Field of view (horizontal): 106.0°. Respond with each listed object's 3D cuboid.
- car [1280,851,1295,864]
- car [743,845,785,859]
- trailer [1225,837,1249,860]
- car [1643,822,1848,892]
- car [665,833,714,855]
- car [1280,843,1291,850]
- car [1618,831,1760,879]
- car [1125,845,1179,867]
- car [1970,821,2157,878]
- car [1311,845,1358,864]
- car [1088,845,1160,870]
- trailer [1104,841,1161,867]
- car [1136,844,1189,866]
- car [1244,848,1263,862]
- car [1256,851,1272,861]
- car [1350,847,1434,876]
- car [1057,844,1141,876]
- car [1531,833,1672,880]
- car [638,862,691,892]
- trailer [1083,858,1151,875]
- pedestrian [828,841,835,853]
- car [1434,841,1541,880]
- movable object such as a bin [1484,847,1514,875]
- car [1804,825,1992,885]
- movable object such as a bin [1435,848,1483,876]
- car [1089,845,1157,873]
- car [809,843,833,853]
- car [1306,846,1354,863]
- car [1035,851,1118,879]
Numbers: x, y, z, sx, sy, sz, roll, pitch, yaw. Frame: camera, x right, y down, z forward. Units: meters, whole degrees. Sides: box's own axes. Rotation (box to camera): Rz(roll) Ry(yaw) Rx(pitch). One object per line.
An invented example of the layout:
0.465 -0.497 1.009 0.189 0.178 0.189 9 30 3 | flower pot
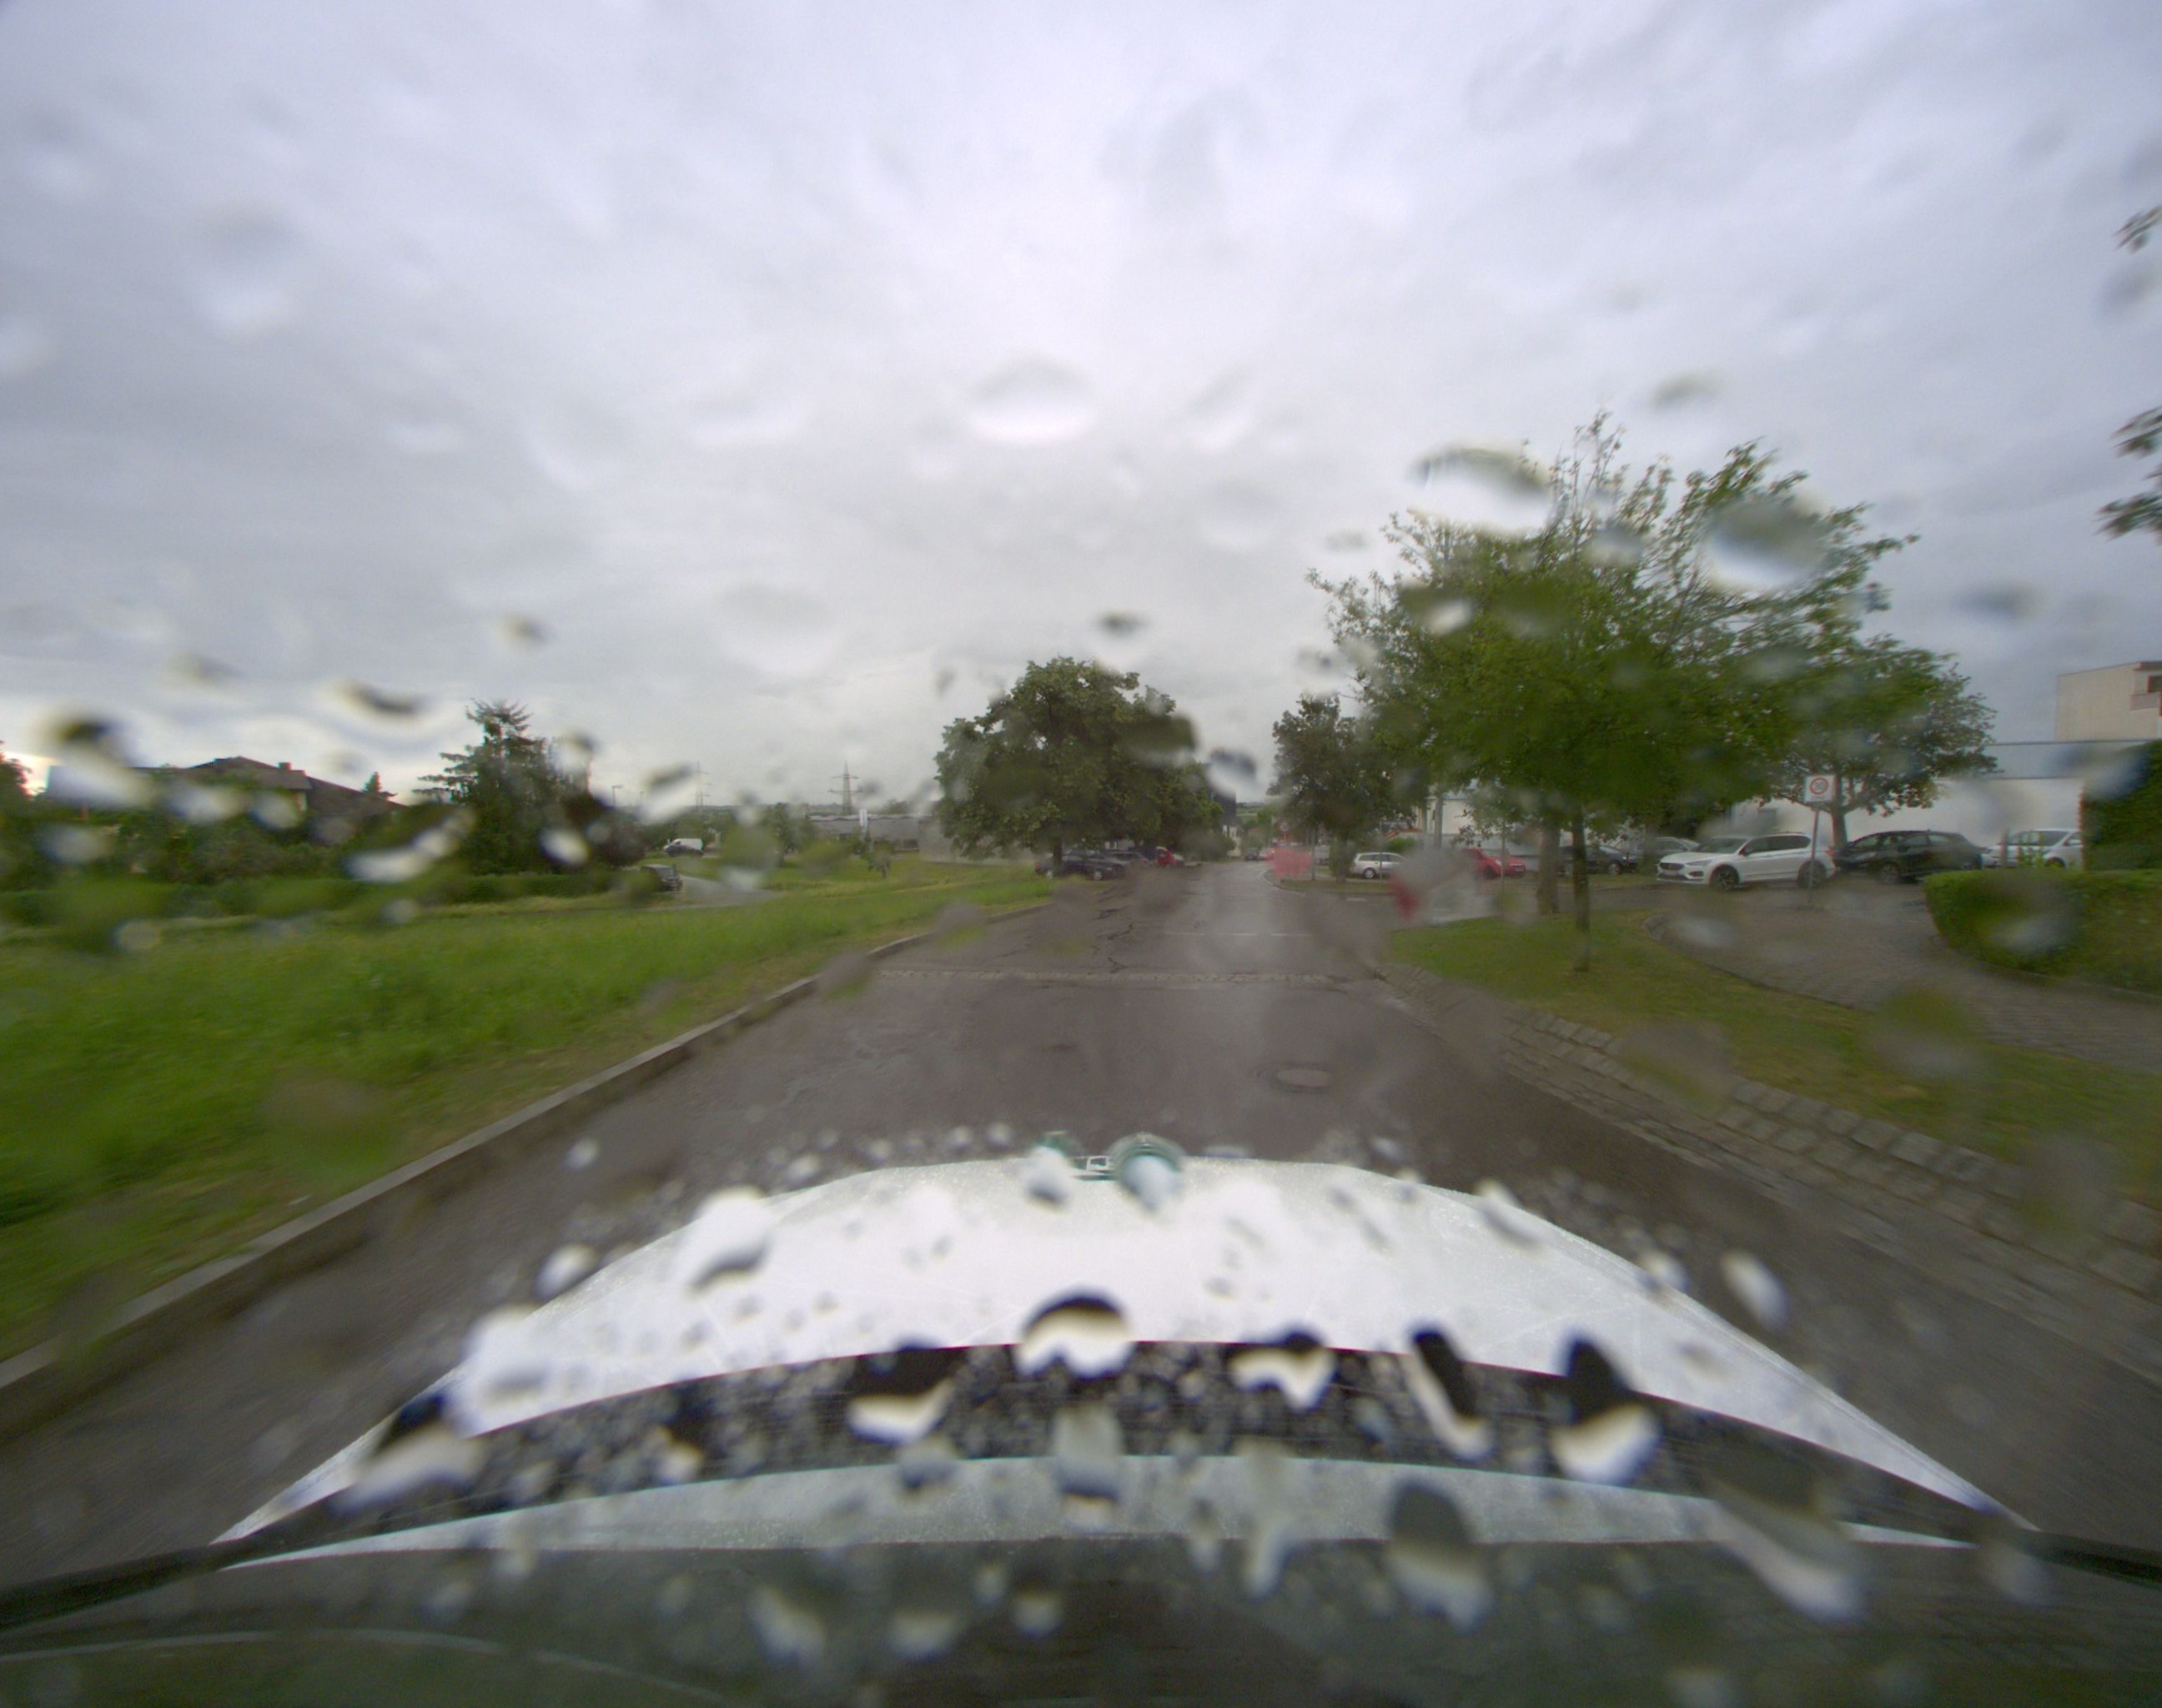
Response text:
27.815 0.477 109.568 1.942 1.675 4.489 -1 -1 14 | car
-42.148 -0.278 108.389 2.262 1.648 4.648 -2 0 42 | car
29.533 -1.087 154.200 2.014 4.203 4.142 -1 0 -34 | trailer
19.695 0.080 24.257 4.692 1.814 1.943 -2 0 -6 | car
-64.961 -1.736 135.181 2.512 3.425 6.771 -2 0 43 | car
58.603 -2.149 233.294 2.256 2.014 4.002 0 -1 2 | car
25.564 0.119 34.437 1.861 1.798 4.424 2 -3 -24 | car
5.772 0.205 66.267 4.168 1.722 1.761 -1 -1 12 | car
30.148 -0.152 25.051 3.811 1.668 1.832 0 0 -5 | car
24.951 0.034 80.301 4.307 1.773 2.098 -1 0 16 | car
2.961 0.234 56.047 4.584 1.590 1.813 2 0 15 | car
4.059 0.034 63.820 4.181 1.984 1.781 -1 -1 15 | trailer
7.164 0.116 71.223 4.264 1.906 1.871 -1 -1 20 | car
23.544 0.081 110.966 1.900 1.831 4.871 0 0 19 | car
28.162 0.326 124.934 1.940 1.461 5.272 -1 0 18 | car
17.530 0.437 46.094 4.281 1.584 1.865 -1 -1 14 | car
1.039 0.363 45.541 4.339 1.722 2.051 -1 -1 11 | car
22.151 0.156 34.916 1.860 1.585 4.794 0 -5 -22 | car
-32.968 1.840 64.474 4.444 2.220 1.942 -2 0 37 | car
2.254 0.748 50.833 3.914 0.961 2.007 1 1 13 | trailer
-39.139 -1.105 127.886 0.856 2.013 0.639 0 0 -43 | pedestrian
18.255 0.354 36.818 1.857 1.585 4.300 0 -3 -18 | car
23.322 0.388 45.450 1.295 1.495 1.033 -2 0 17 | movable object such as a bin
24.663 -0.009 24.675 4.002 1.732 1.952 0 2 -6 | car
21.271 0.456 45.908 2.248 1.503 1.741 -2 0 17 | movable object such as a bin
2.760 0.322 53.472 4.043 1.721 2.034 2 0 16 | car
-39.963 -0.907 124.973 3.950 1.618 1.822 0 0 44 | car
25.419 0.051 83.127 4.560 1.538 2.089 -2 0 17 | car
-0.200 0.559 43.086 4.190 1.431 1.777 0 0 7 | car
